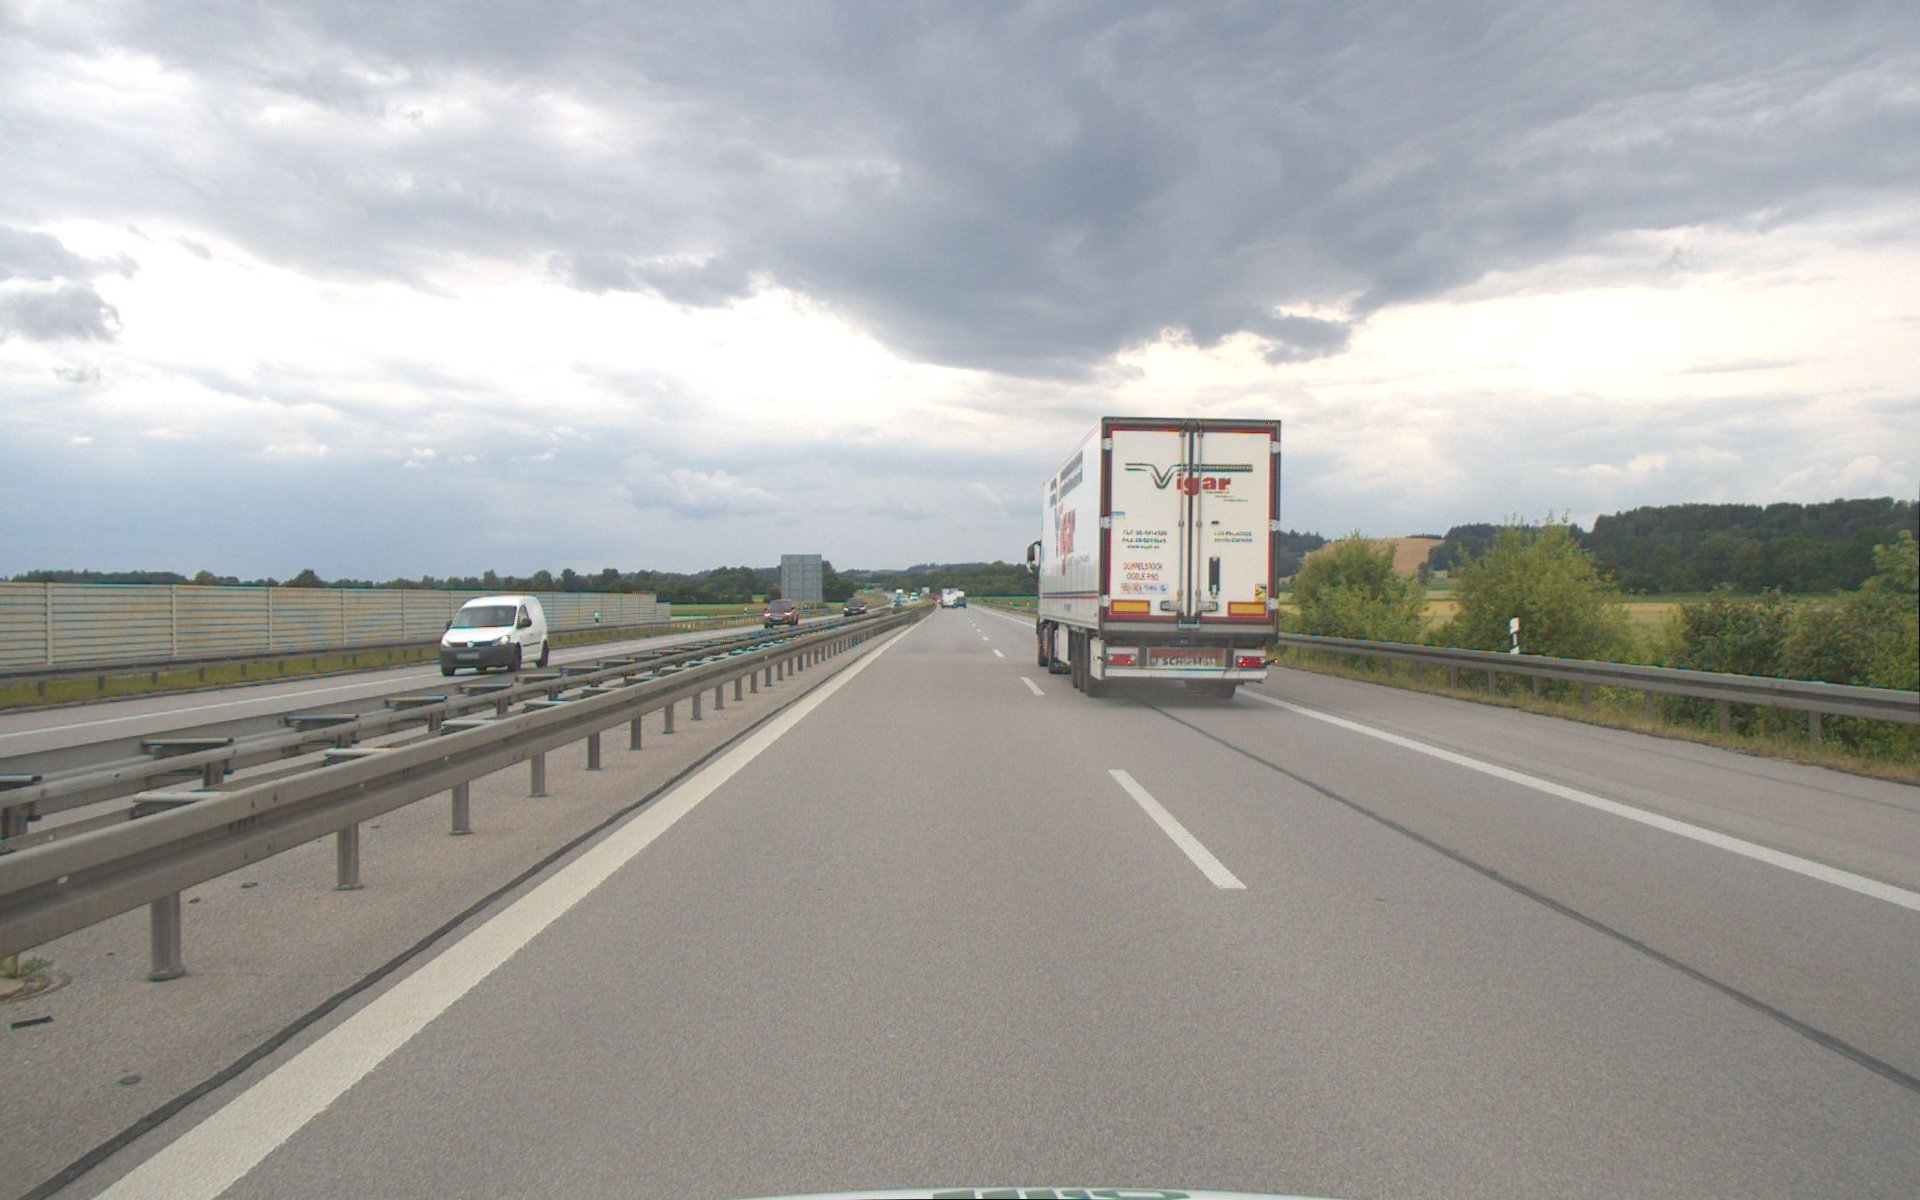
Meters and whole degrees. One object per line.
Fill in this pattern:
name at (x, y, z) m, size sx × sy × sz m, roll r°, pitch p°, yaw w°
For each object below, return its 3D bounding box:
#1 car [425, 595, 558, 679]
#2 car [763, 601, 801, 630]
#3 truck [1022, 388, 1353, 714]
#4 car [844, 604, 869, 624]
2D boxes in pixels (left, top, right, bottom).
car at (-11.120, 0.826, 39.607) m, size 1.720 × 1.772 × 4.913 m, roll -4°, pitch 0°, yaw 0°
car at (-10.956, 0.933, 101.996) m, size 1.857 × 1.660 × 4.174 m, roll -3°, pitch 0°, yaw 0°
truck at (3.459, -0.735, 31.102) m, size 3.598 × 4.489 × 16.336 m, roll 0°, pitch 0°, yaw -1°
car at (-9.190, 1.255, 147.073) m, size 1.857 × 1.660 × 4.174 m, roll -3°, pitch 0°, yaw 0°
